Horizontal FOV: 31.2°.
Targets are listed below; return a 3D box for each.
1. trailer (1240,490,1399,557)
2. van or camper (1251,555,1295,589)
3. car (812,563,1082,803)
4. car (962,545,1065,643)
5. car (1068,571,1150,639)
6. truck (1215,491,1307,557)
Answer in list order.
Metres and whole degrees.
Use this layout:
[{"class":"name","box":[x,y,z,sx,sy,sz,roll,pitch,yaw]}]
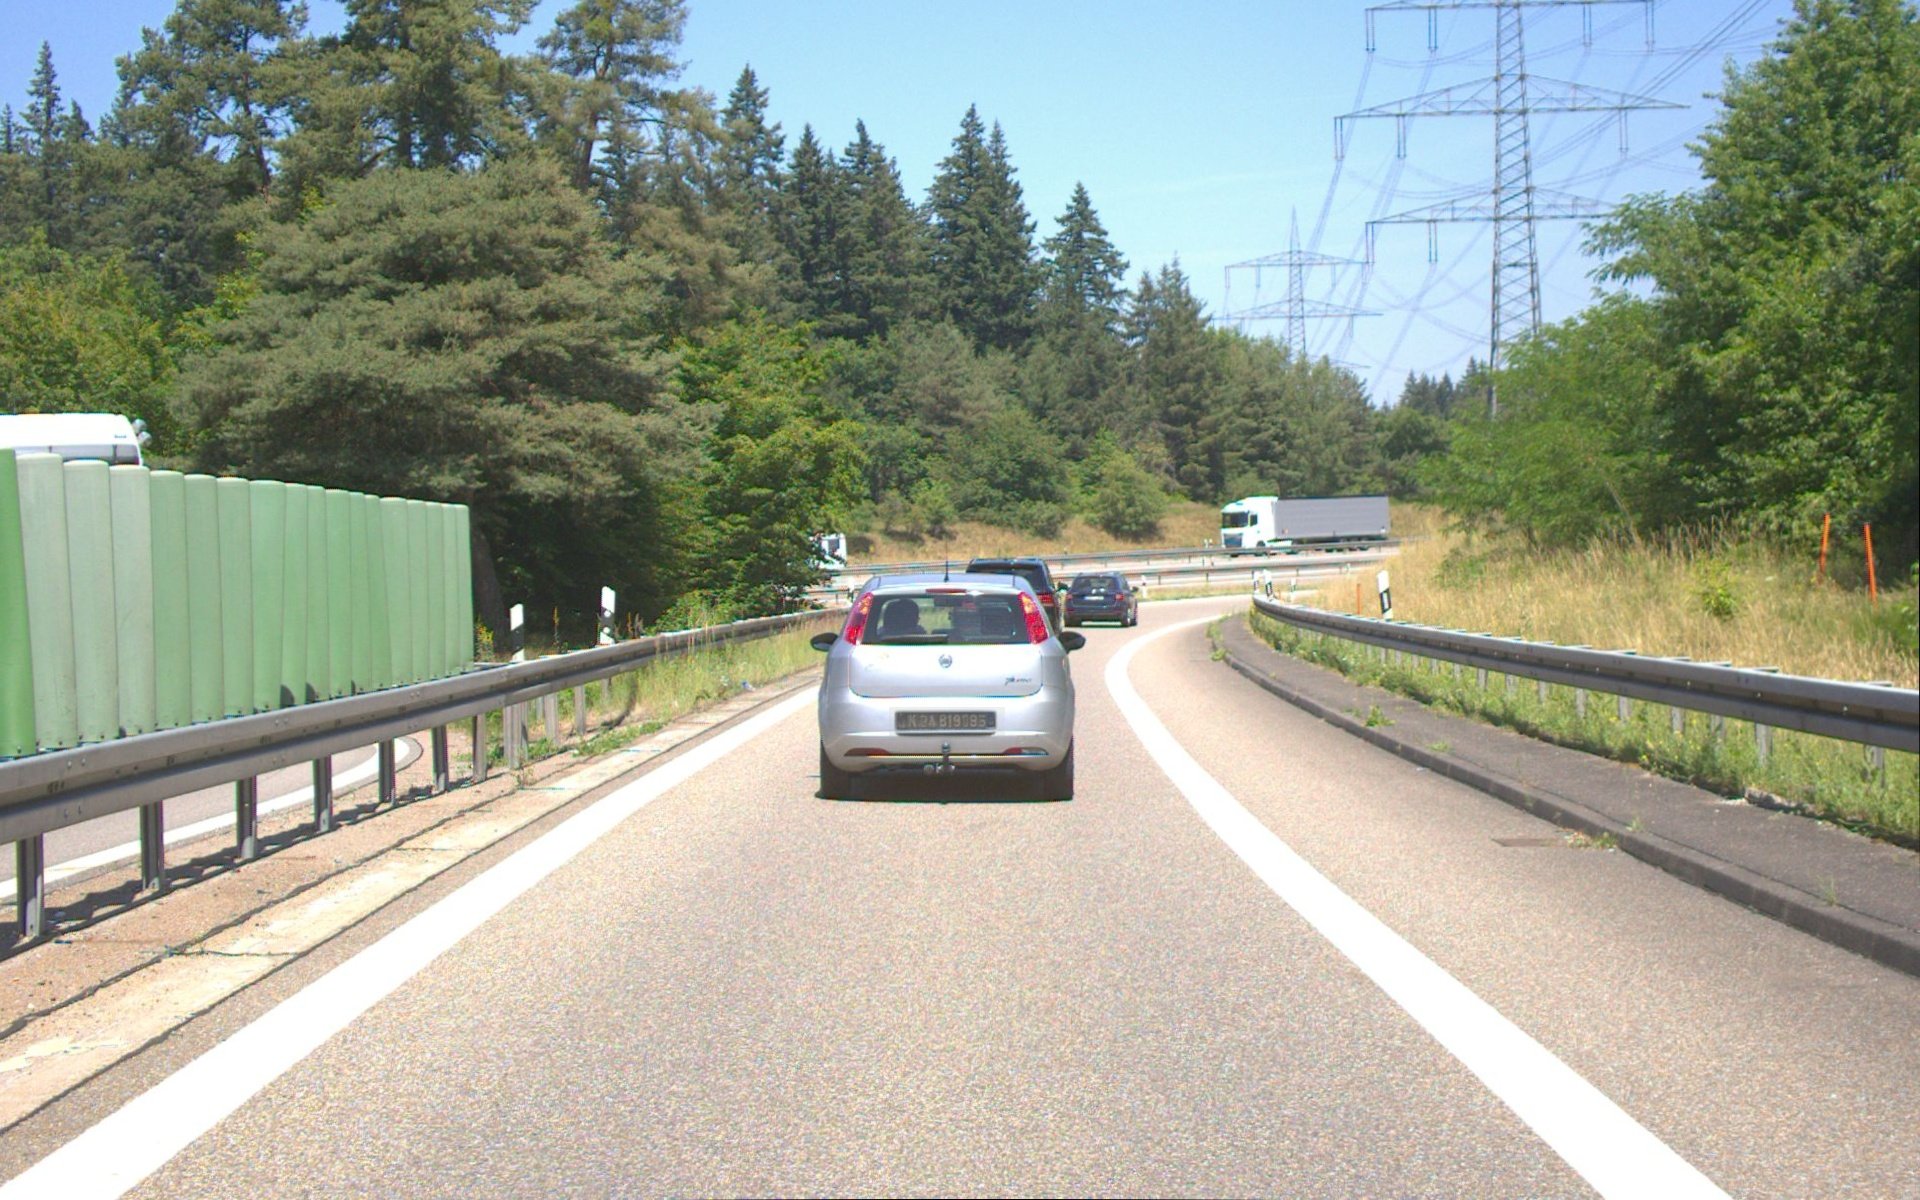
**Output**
[{"class":"trailer","box":[25.467,-5.426,242.687,2.932,4.372,14.262,-2,1,43]},{"class":"van or camper","box":[14.754,-1.336,162.109,1.808,1.481,3.999,0,2,9]},{"class":"car","box":[-0.122,0.508,23.437,1.706,1.476,3.398,0,1,-1]},{"class":"car","box":[0.971,-0.132,60.961,1.706,1.670,3.397,0,1,3]},{"class":"car","box":[4.057,0.120,93.065,1.882,1.678,3.999,-3,1,6]},{"class":"truck","box":[20.811,-5.256,237.726,2.946,4.377,6.256,-2,1,43]}]
